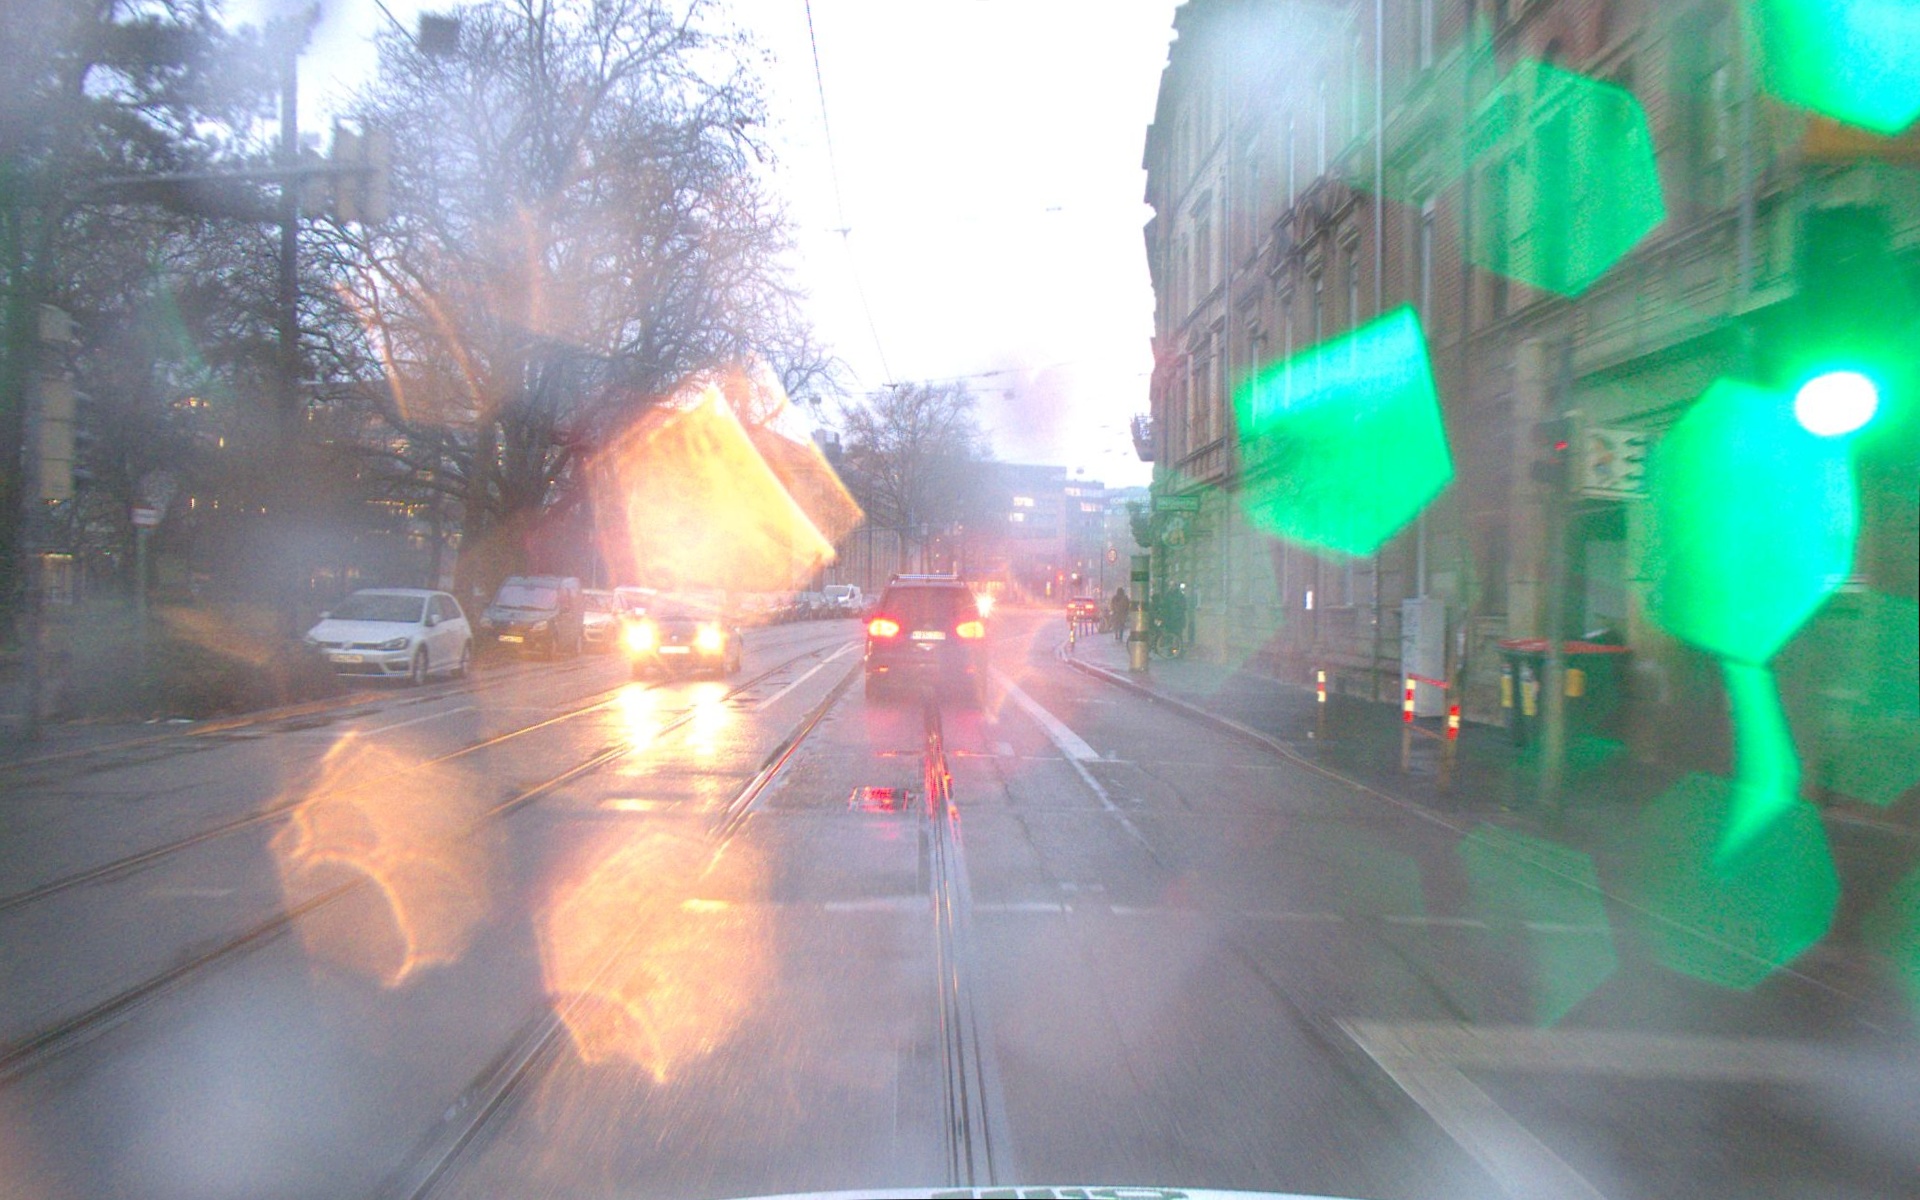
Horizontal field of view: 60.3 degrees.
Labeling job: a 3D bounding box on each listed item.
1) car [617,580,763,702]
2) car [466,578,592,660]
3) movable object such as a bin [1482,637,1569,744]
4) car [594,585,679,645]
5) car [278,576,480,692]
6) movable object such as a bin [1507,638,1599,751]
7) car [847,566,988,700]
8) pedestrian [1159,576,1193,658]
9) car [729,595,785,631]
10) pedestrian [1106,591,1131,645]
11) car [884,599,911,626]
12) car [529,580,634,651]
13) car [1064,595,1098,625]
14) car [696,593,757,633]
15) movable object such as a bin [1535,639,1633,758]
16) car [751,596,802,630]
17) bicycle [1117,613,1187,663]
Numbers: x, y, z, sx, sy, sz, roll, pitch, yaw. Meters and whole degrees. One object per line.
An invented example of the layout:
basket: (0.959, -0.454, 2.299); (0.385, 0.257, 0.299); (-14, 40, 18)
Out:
car: (-4.873, 0.711, 30.405); (1.952, 2.049, 4.000); (1, 0, 1)
car: (-9.386, 0.399, 36.342); (1.945, 1.644, 4.424); (1, 0, -5)
movable object such as a bin: (5.896, 0.933, 17.261); (0.627, 1.073, 0.744); (1, -1, -1)
car: (-9.354, 0.428, 48.158); (1.945, 1.644, 4.424); (1, 0, -5)
car: (-9.022, 0.503, 26.094); (1.945, 1.644, 4.424); (1, 0, -5)
movable object such as a bin: (5.906, 0.928, 16.497); (0.627, 1.073, 0.744); (1, -1, -1)
car: (-0.568, 0.469, 25.518); (1.952, 1.874, 4.001); (1, 0, 1)
pedestrian: (5.298, 0.407, 40.578); (0.701, 1.987, 0.657); (1, -1, -1)
car: (-9.668, 0.616, 79.172); (1.943, 1.644, 4.430); (1, 0, 2)
pedestrian: (5.412, 0.614, 56.423); (0.756, 1.806, 0.684); (1, -1, -1)
car: (-4.813, 0.980, 127.988); (1.953, 2.049, 3.999); (1, 0, -1)
car: (-9.416, 0.385, 41.449); (1.945, 1.644, 4.424); (1, 0, -5)
car: (7.717, 0.632, 105.760); (1.952, 1.874, 4.001); (1, 0, 1)
car: (-10.251, 0.564, 72.925); (1.943, 1.644, 4.430); (1, 0, 2)
movable object such as a bin: (5.924, 0.924, 15.730); (0.627, 1.073, 0.744); (1, -1, -1)
car: (-9.416, 0.659, 85.177); (1.943, 1.644, 4.430); (1, 0, 2)
bicycle: (4.668, 0.906, 40.350); (0.781, 1.164, 2.230); (1, 0, -20)
